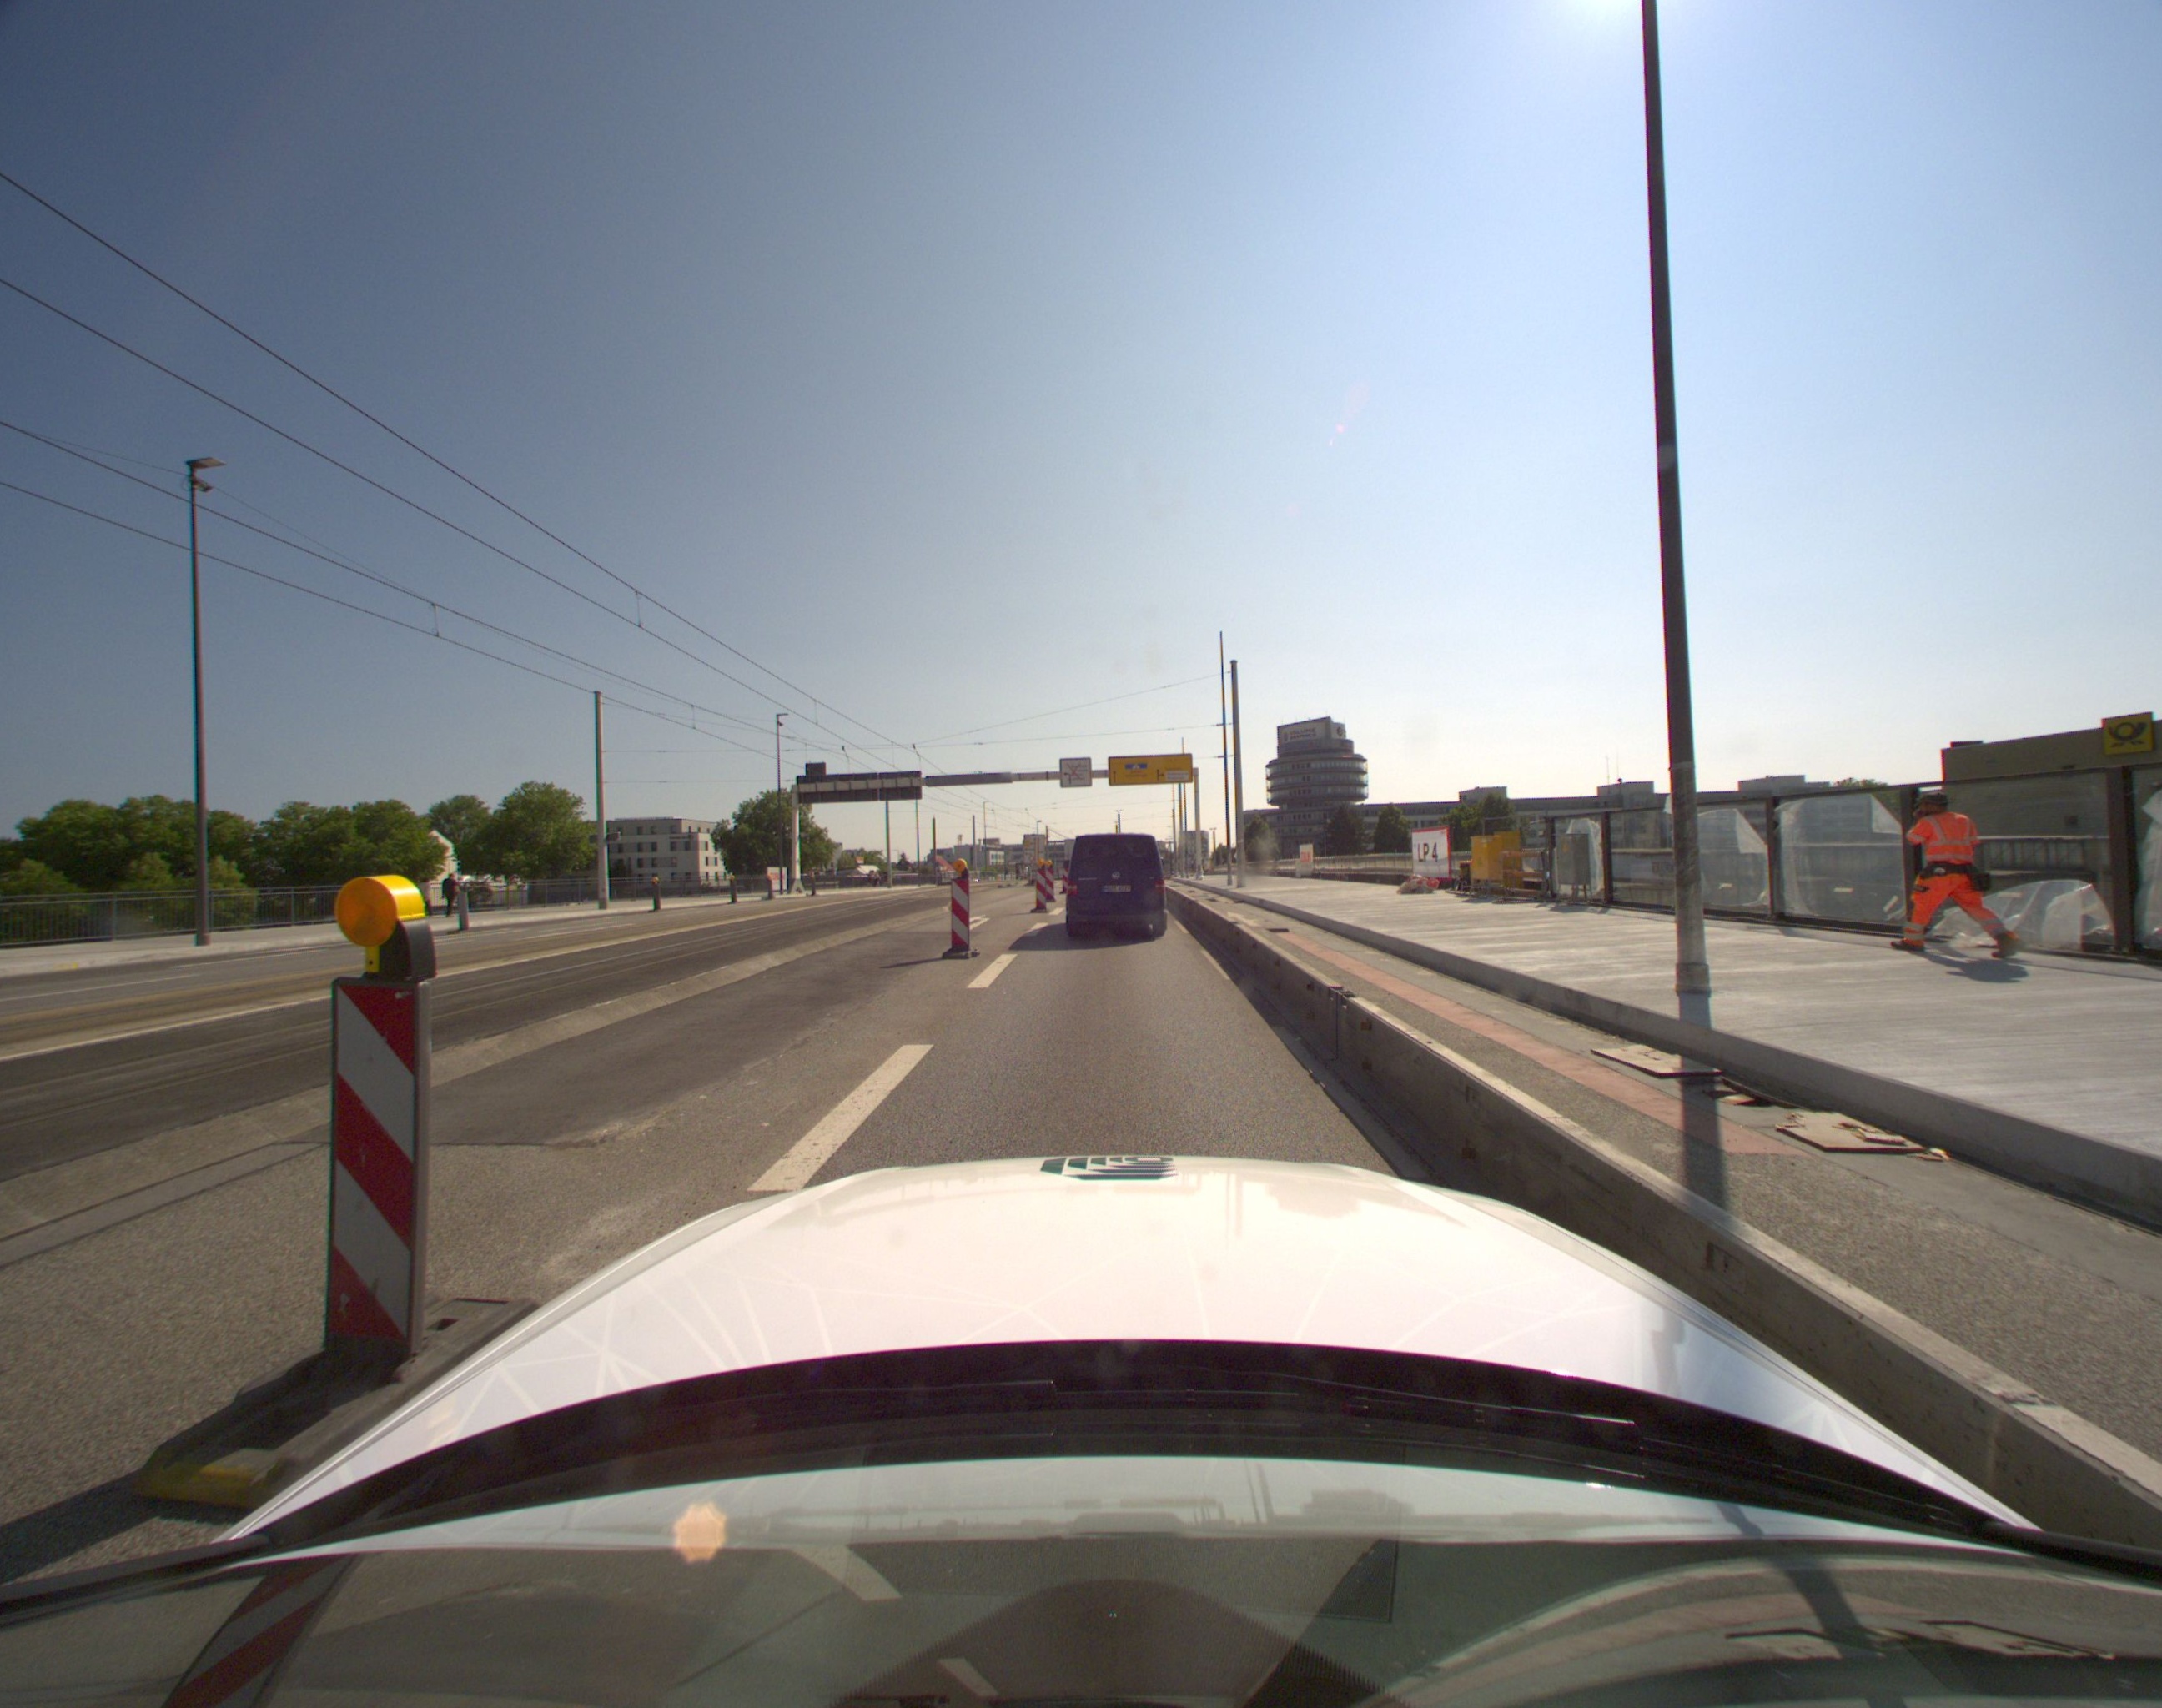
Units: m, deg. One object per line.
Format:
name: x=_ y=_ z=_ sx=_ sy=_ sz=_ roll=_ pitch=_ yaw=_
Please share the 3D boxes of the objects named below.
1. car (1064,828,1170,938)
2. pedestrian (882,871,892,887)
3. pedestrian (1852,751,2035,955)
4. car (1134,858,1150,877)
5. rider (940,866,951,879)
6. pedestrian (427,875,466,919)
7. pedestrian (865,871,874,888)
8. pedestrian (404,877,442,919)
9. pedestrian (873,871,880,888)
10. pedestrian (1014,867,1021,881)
car: x=0.709 y=0.541 z=16.479 sx=1.881 sy=1.934 sz=4.002 roll=0 pitch=-1 yaw=2
pedestrian: x=-20.704 y=2.659 z=86.905 sx=0.749 sy=1.687 sz=0.733 roll=-2 pitch=-1 yaw=5
pedestrian: x=8.958 y=-0.011 z=8.513 sx=0.728 sy=1.965 sz=1.017 roll=-3 pitch=-1 yaw=2
car: x=9.251 y=2.037 z=123.195 sx=2.329 sy=2.887 sz=5.975 roll=-1 pitch=-1 yaw=3
rider: x=-17.980 y=2.478 z=108.111 sx=0.760 sy=1.733 sz=2.952 roll=-1 pitch=-1 yaw=2
pedestrian: x=-24.317 y=1.626 z=31.237 sx=0.741 sy=1.642 sz=0.895 roll=0 pitch=-1 yaw=2
pedestrian: x=-21.916 y=2.639 z=84.492 sx=0.594 sy=1.687 sz=0.819 roll=-2 pitch=-1 yaw=5
pedestrian: x=-25.306 y=1.676 z=31.329 sx=0.717 sy=1.544 sz=0.889 roll=0 pitch=-1 yaw=2
pedestrian: x=-21.290 y=2.639 z=84.831 sx=0.483 sy=1.687 sz=0.809 roll=-2 pitch=-1 yaw=6
pedestrian: x=-8.002 y=2.504 z=102.552 sx=0.655 sy=1.654 sz=0.742 roll=-2 pitch=-1 yaw=16
